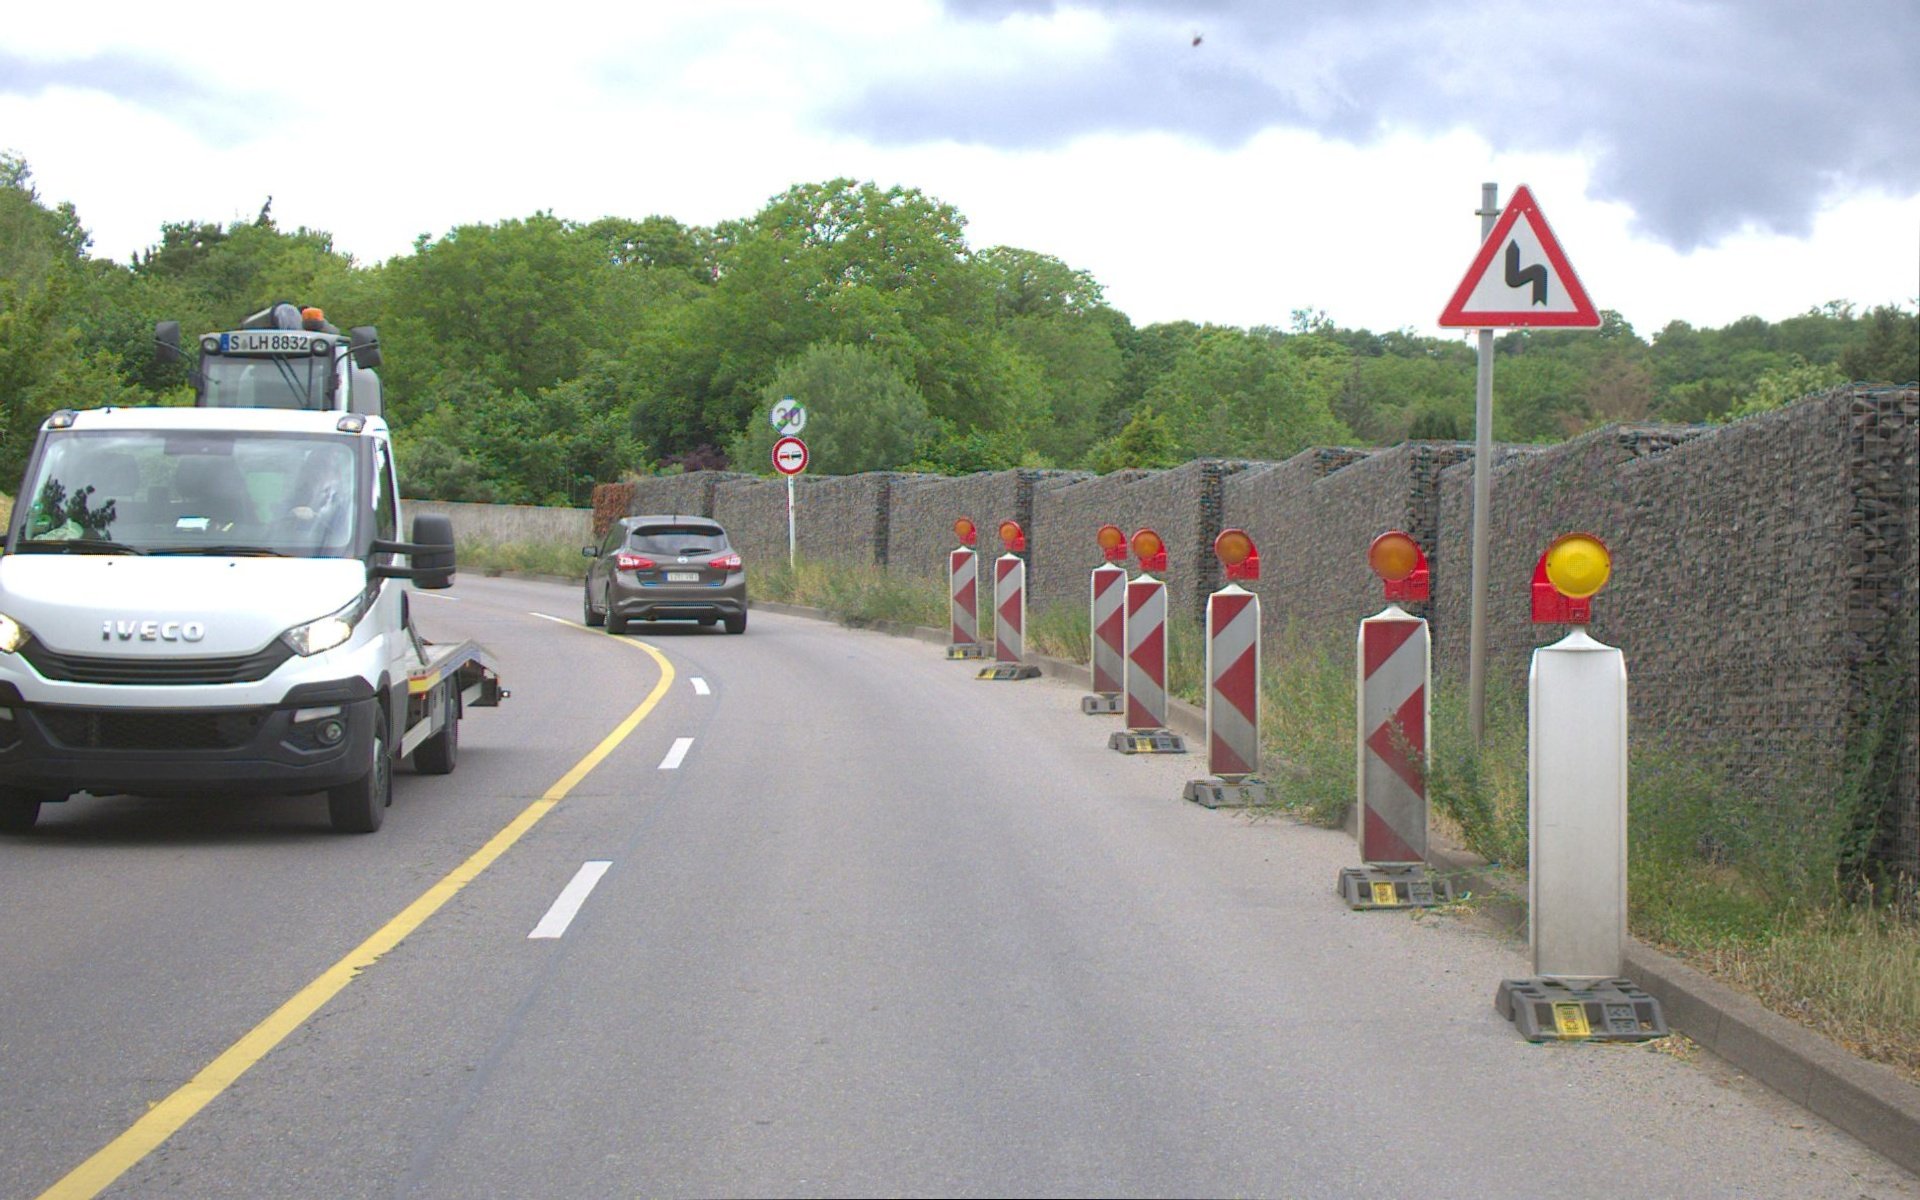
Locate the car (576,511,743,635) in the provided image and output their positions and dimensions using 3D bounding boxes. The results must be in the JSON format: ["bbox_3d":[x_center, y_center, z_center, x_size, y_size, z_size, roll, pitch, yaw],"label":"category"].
[{"bbox_3d":[-3.994,-0.394,45.159,1.839,1.478,4.002,-1,2,-10],"label":"car"}]

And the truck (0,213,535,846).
[{"bbox_3d":[-3.991,-0.422,20.188,2.215,3.004,7.740,0,1,-1],"label":"truck"}]
